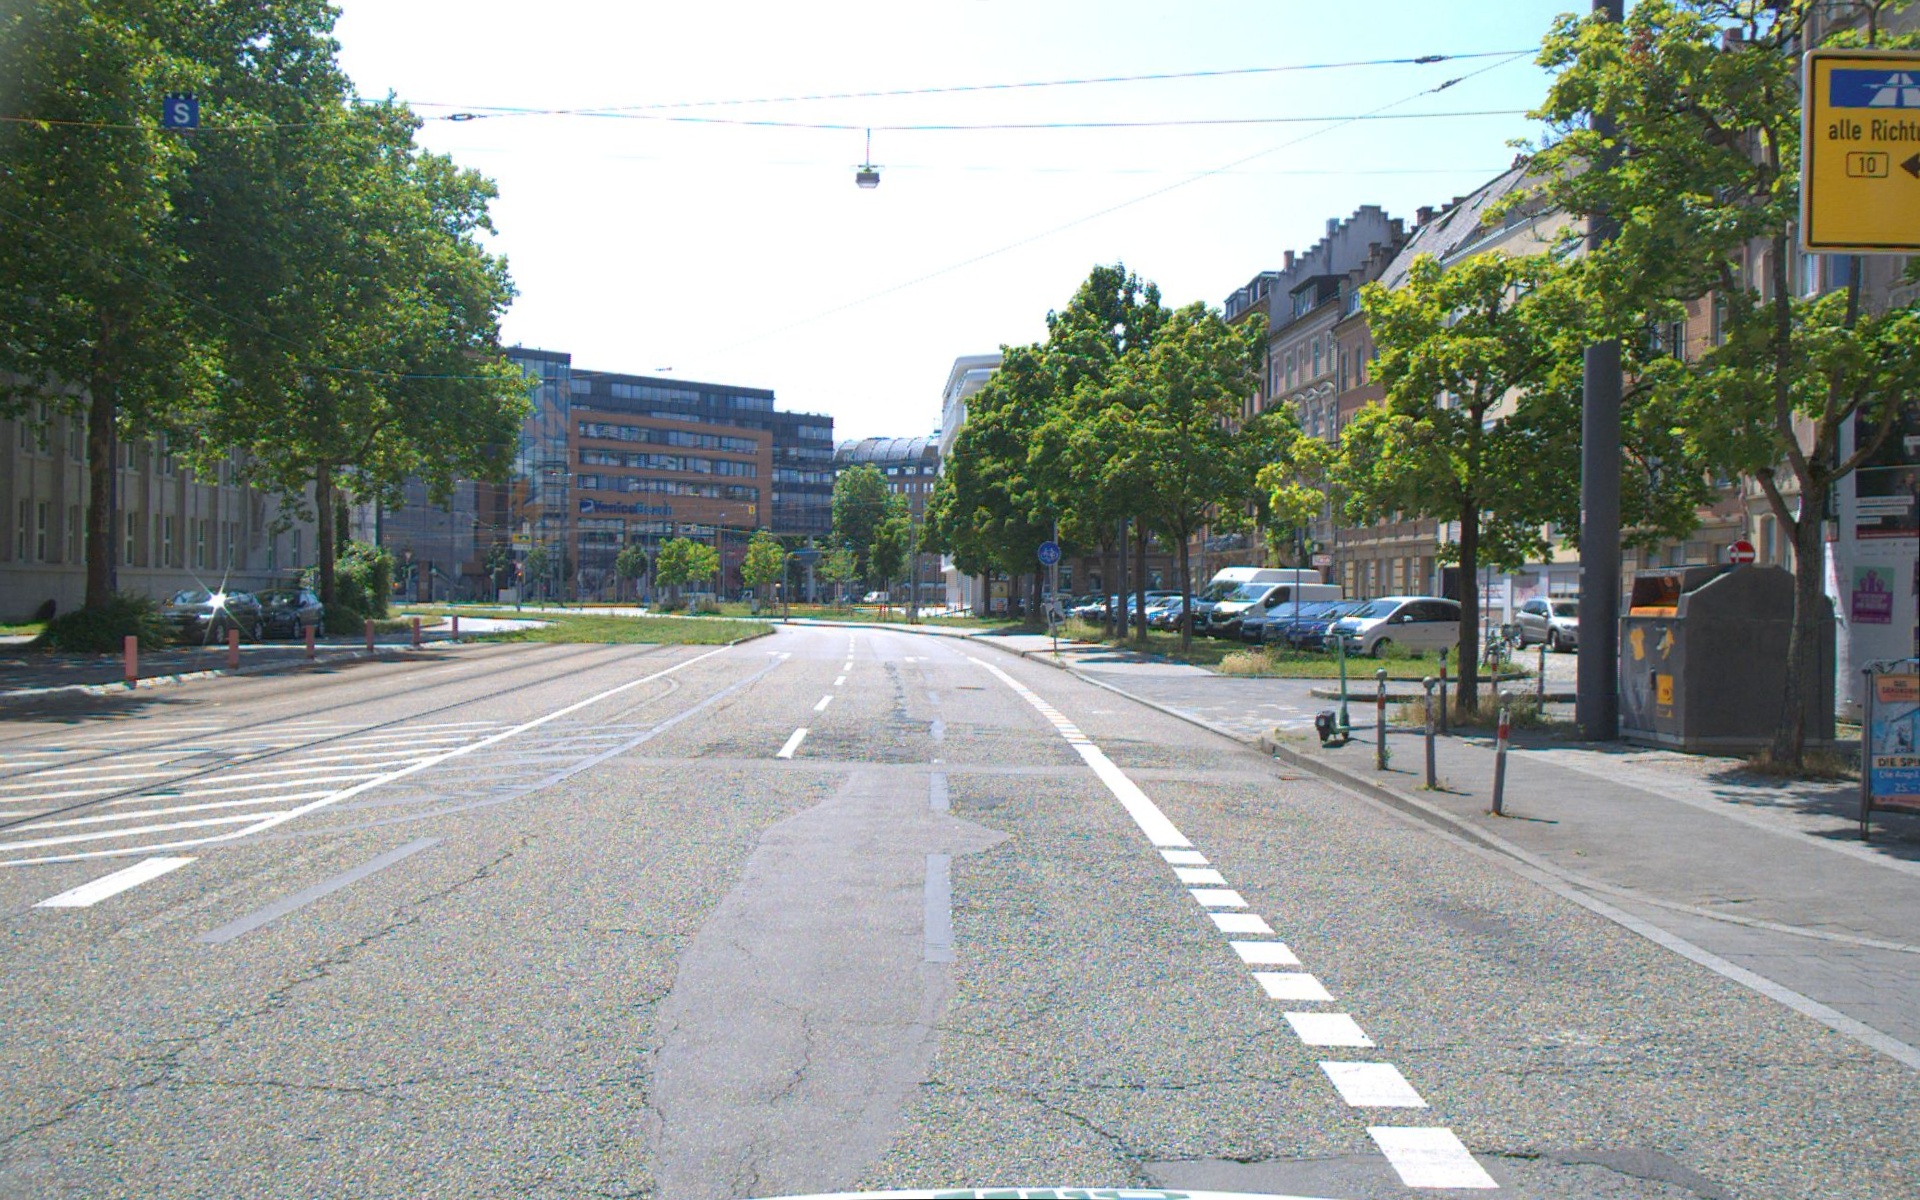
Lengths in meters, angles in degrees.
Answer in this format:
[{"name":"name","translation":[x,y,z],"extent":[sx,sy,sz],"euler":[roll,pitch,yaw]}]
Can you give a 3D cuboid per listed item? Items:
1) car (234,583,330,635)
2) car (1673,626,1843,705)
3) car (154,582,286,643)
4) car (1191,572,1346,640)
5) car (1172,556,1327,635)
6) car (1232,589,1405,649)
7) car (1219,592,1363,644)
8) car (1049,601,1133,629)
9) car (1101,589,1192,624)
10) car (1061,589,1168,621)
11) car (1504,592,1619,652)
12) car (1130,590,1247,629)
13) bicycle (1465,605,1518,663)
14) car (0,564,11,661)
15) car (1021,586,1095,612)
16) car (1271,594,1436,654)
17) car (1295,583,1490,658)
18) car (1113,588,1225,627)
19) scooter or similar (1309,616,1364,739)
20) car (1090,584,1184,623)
[{"name":"car","translation":[-20.315,0.271,49.706],"extent":[1.558,1.448,4.316],"euler":[2,0,-7]},{"name":"car","translation":[18.613,1.482,38.845],"extent":[1.952,1.628,4.600],"euler":[2,0,3]},{"name":"car","translation":[-19.782,0.335,44.419],"extent":[1.728,1.509,4.320],"euler":[2,0,-3]},{"name":"car","translation":[9.939,0.207,53.100],"extent":[4.787,2.007,2.053],"euler":[2,-1,-33]},{"name":"car","translation":[9.946,-0.135,56.554],"extent":[5.501,2.503,2.205],"euler":[2,-1,-41]},{"name":"car","translation":[10.079,0.532,46.435],"extent":[4.565,1.523,1.947],"euler":[2,-1,-28]},{"name":"car","translation":[9.916,0.544,49.580],"extent":[3.936,1.411,1.809],"euler":[2,0,-25]},{"name":"car","translation":[6.879,0.779,87.024],"extent":[3.937,1.336,1.956],"euler":[2,0,-26]},{"name":"car","translation":[8.372,0.280,74.206],"extent":[3.955,1.424,1.691],"euler":[2,-1,-36]},{"name":"car","translation":[7.420,0.246,79.409],"extent":[4.713,1.336,2.132],"euler":[2,0,-26]},{"name":"car","translation":[18.555,0.665,51.213],"extent":[1.783,1.713,3.996],"euler":[2,0,-5]},{"name":"car","translation":[8.893,0.368,64.288],"extent":[4.382,1.362,1.947],"euler":[2,-1,-36]},{"name":"bicycle","translation":[11.797,0.758,36.668],"extent":[0.724,1.214,2.357],"euler":[2,-1,27]},{"name":"car","translation":[-19.281,0.200,29.782],"extent":[1.953,1.842,4.299],"euler":[2,0,-2]},{"name":"car","translation":[6.661,-0.072,111.732],"extent":[4.809,1.629,1.817],"euler":[2,-1,-31]},{"name":"car","translation":[10.279,0.628,43.220],"extent":[3.936,1.424,1.809],"euler":[2,0,-25]},{"name":"car","translation":[10.519,0.492,40.227],"extent":[4.344,1.660,1.984],"euler":[2,-1,-26]},{"name":"car","translation":[8.602,0.314,67.741],"extent":[4.649,1.452,1.943],"euler":[2,-1,-41]},{"name":"scooter or similar","translation":[4.097,0.827,17.971],"extent":[0.382,1.235,1.180],"euler":[-3,1,20]},{"name":"car","translation":[8.275,0.159,77.276],"extent":[3.944,1.691,1.953],"euler":[2,-1,-30]}]
